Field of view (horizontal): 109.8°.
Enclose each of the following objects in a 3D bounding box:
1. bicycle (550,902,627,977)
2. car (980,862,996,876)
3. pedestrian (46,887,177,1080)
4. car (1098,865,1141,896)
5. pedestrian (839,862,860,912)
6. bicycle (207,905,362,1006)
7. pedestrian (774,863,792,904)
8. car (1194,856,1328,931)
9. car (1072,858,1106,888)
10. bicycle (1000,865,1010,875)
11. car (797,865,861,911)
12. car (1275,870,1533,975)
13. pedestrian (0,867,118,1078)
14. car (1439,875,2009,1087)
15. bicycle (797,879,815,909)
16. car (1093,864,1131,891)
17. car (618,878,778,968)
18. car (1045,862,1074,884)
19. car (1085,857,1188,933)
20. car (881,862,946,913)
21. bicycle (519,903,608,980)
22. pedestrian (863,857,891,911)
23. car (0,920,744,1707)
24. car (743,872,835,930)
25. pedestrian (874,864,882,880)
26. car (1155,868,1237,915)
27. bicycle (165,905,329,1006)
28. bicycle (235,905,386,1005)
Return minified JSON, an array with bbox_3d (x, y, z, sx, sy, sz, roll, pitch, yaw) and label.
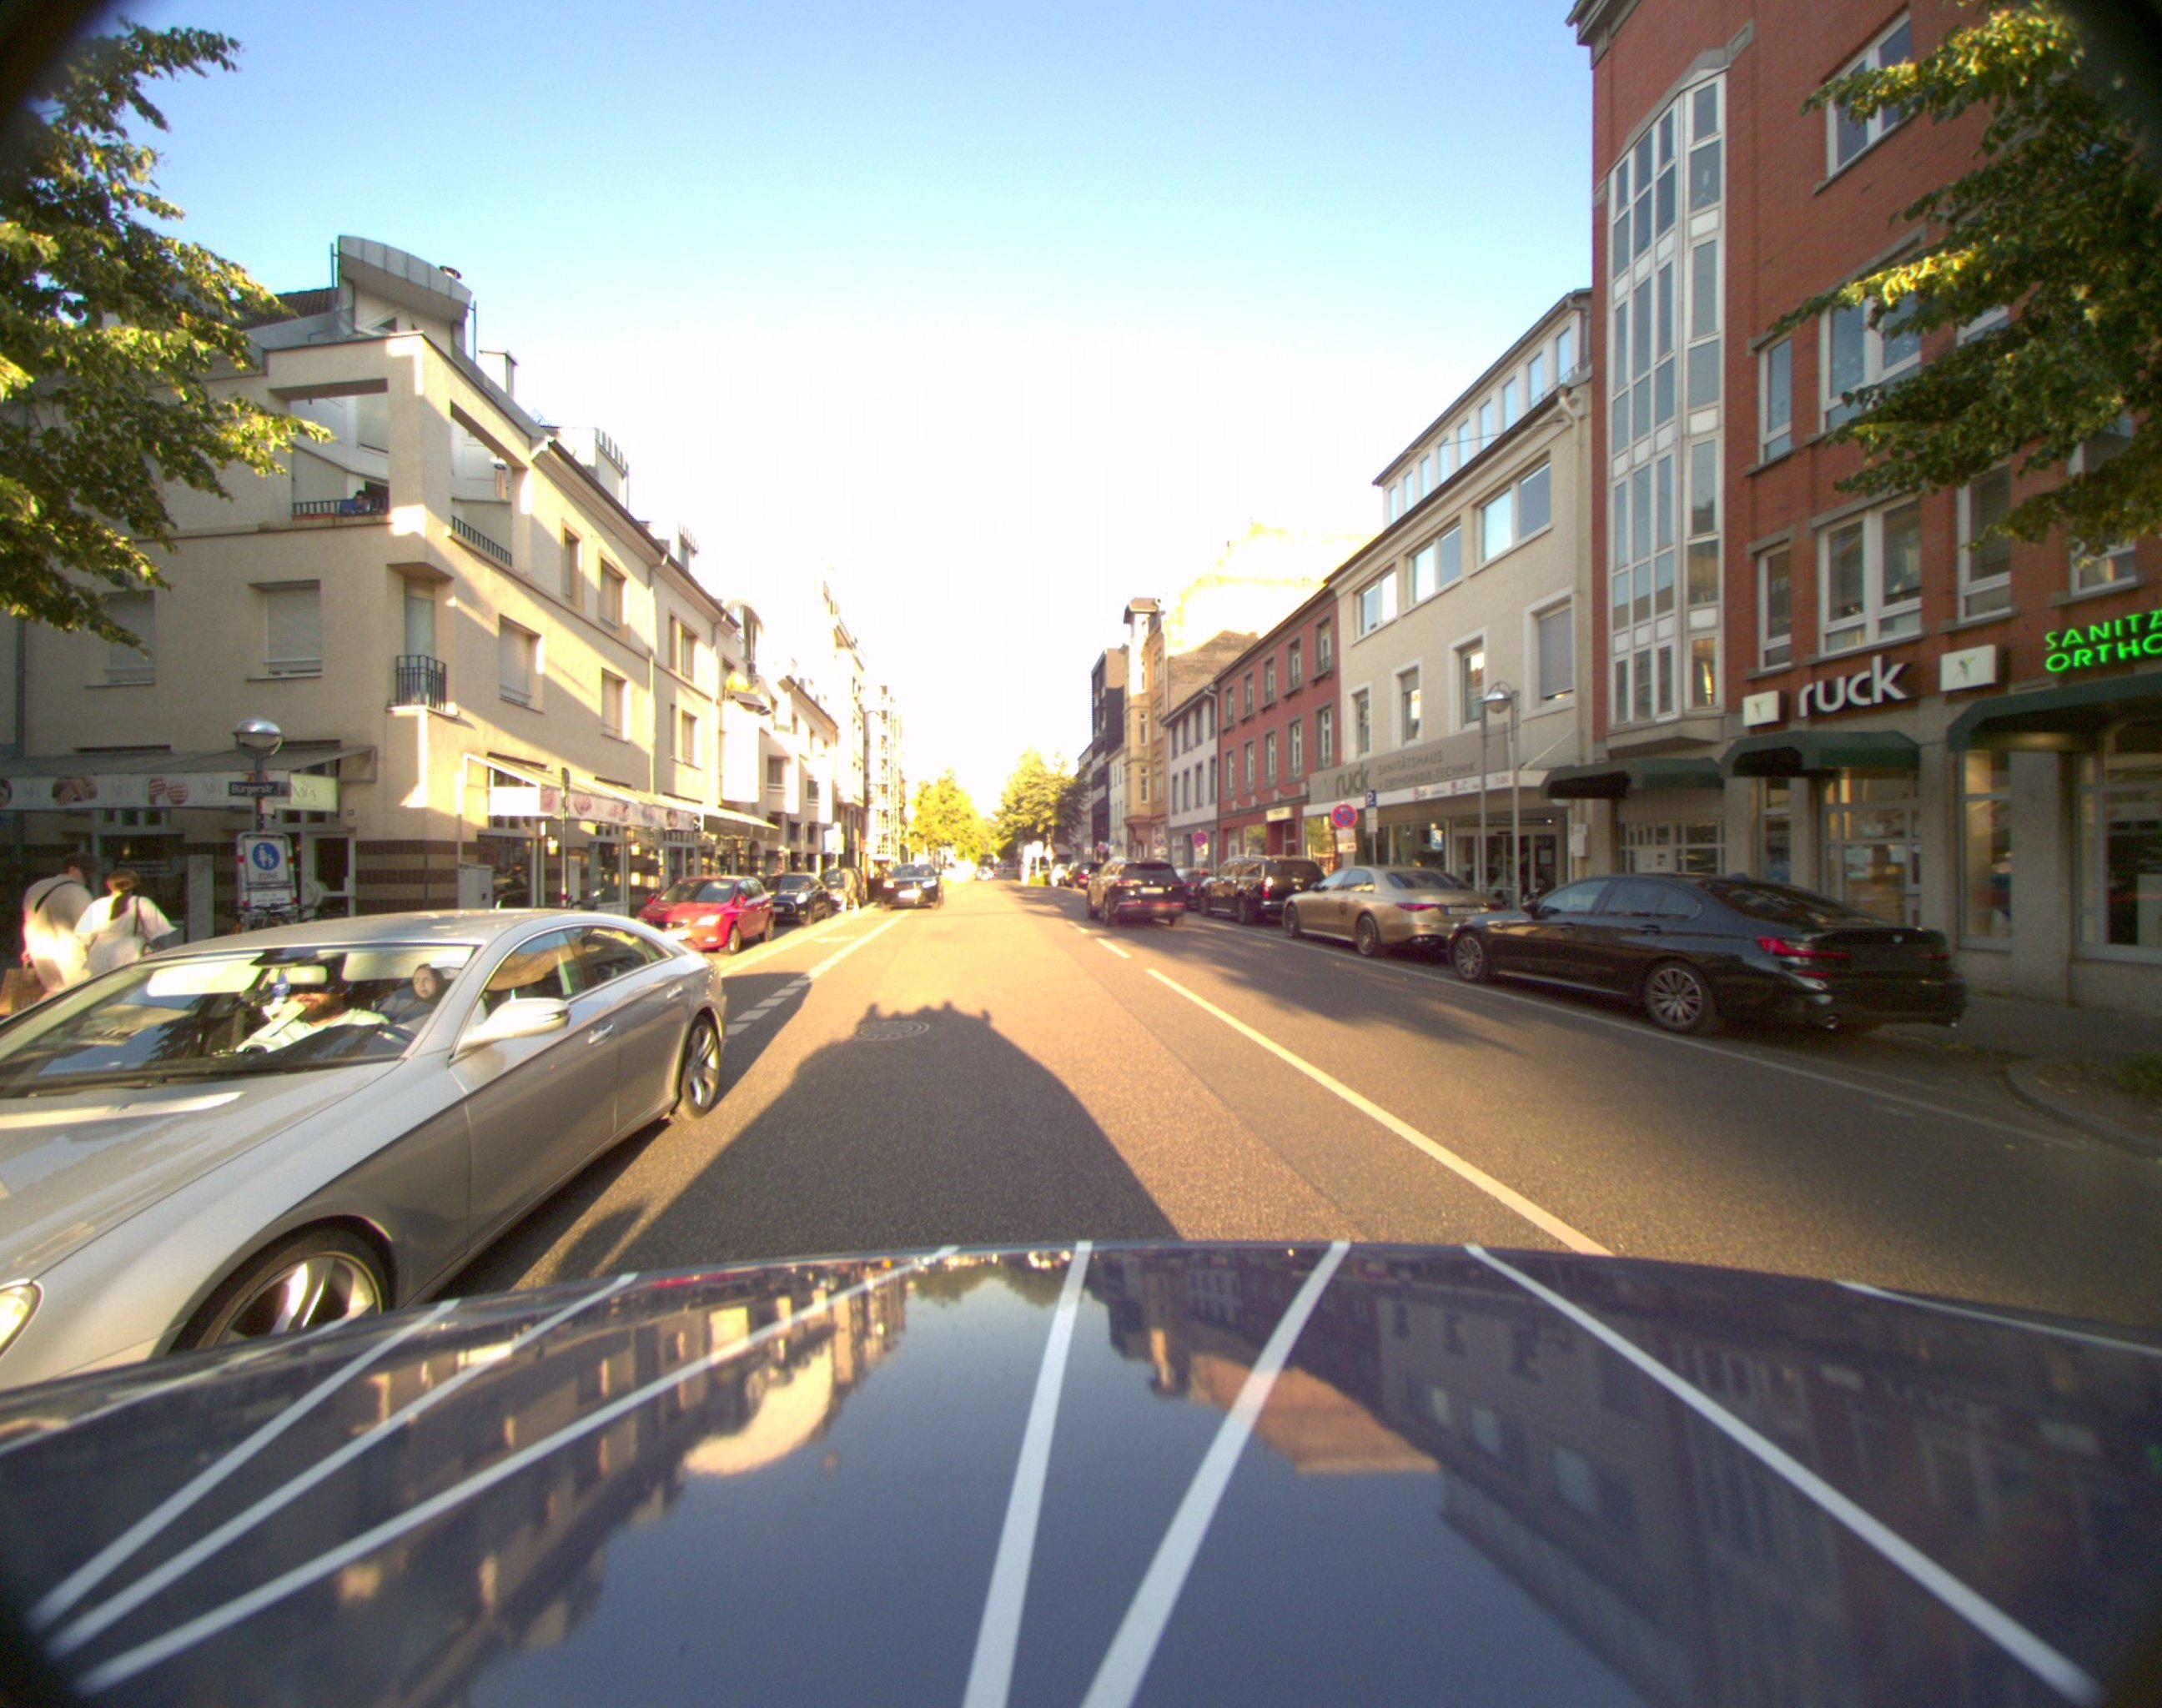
[{"bbox_3d":[-8.031,1.363,12.461,0.315,1.040,1.664,0,0,-5],"label":"bicycle"},{"bbox_3d":[-10.174,1.599,82.966,1.623,1.465,3.686,-2,0,-8],"label":"car"},{"bbox_3d":[-8.328,1.096,6.543,0.521,1.583,0.408,2,0,-8],"label":"pedestrian"},{"bbox_3d":[2.005,1.360,40.205,1.690,1.461,3.689,2,-1,-6],"label":"car"},{"bbox_3d":[-8.199,1.155,26.935,0.631,1.739,0.669,0,0,-8],"label":"pedestrian"},{"bbox_3d":[-10.627,1.304,10.234,0.291,1.098,1.886,-1,0,-7],"label":"bicycle"},{"bbox_3d":[-13.277,1.297,33.869,0.576,1.789,0.450,-2,1,-6],"label":"pedestrian"},{"bbox_3d":[4.632,0.971,20.403,1.726,1.768,4.935,1,-1,-9],"label":"car"},{"bbox_3d":[0.461,1.180,47.900,1.674,1.763,3.563,2,-1,-6],"label":"car"},{"bbox_3d":[-10.348,2.166,103.585,0.858,1.225,2.991,0,0,5],"label":"bicycle"},{"bbox_3d":[-9.532,1.233,29.017,1.622,1.583,3.923,-1,0,-8],"label":"car"},{"bbox_3d":[5.347,1.049,13.546,2.000,1.463,5.104,1,-1,-6],"label":"car"},{"bbox_3d":[-9.013,1.003,6.614,0.545,1.748,0.502,2,0,-8],"label":"pedestrian"},{"bbox_3d":[5.886,1.016,7.906,1.726,1.463,4.538,2,-1,-7],"label":"car"},{"bbox_3d":[-10.639,1.527,29.376,0.296,1.079,1.462,-1,0,-7],"label":"bicycle"},{"bbox_3d":[1.735,1.353,44.157,1.674,1.448,3.563,2,-1,-6],"label":"car"},{"bbox_3d":[-7.197,1.216,14.720,1.594,1.425,3.923,1,0,-8],"label":"car"},{"bbox_3d":[-1.590,1.335,54.846,1.674,1.512,3.562,1,0,-8],"label":"car"},{"bbox_3d":[1.248,0.948,18.994,1.736,1.665,4.293,1,-1,-7],"label":"car"},{"bbox_3d":[-5.952,1.135,27.489,1.891,1.626,4.224,-2,0,-8],"label":"car"},{"bbox_3d":[-8.369,1.376,12.366,0.315,1.040,1.881,0,0,-5],"label":"bicycle"},{"bbox_3d":[-7.350,1.085,27.385,0.779,1.872,0.669,-4,1,-8],"label":"pedestrian"},{"bbox_3d":[-3.037,1.130,3.158,1.748,1.392,4.637,-3,-2,-8],"label":"car"},{"bbox_3d":[-8.206,1.268,21.663,1.622,1.425,3.923,0,0,-8],"label":"car"},{"bbox_3d":[-16.569,1.441,62.099,0.492,1.256,0.421,-2,1,-7],"label":"pedestrian"},{"bbox_3d":[3.893,1.235,26.463,1.707,1.429,4.012,2,-1,-8],"label":"car"},{"bbox_3d":[-11.074,1.301,10.180,0.322,1.098,1.878,-1,0,-7],"label":"bicycle"},{"bbox_3d":[-10.320,1.304,10.269,0.322,1.098,1.878,-1,0,-7],"label":"bicycle"}]
